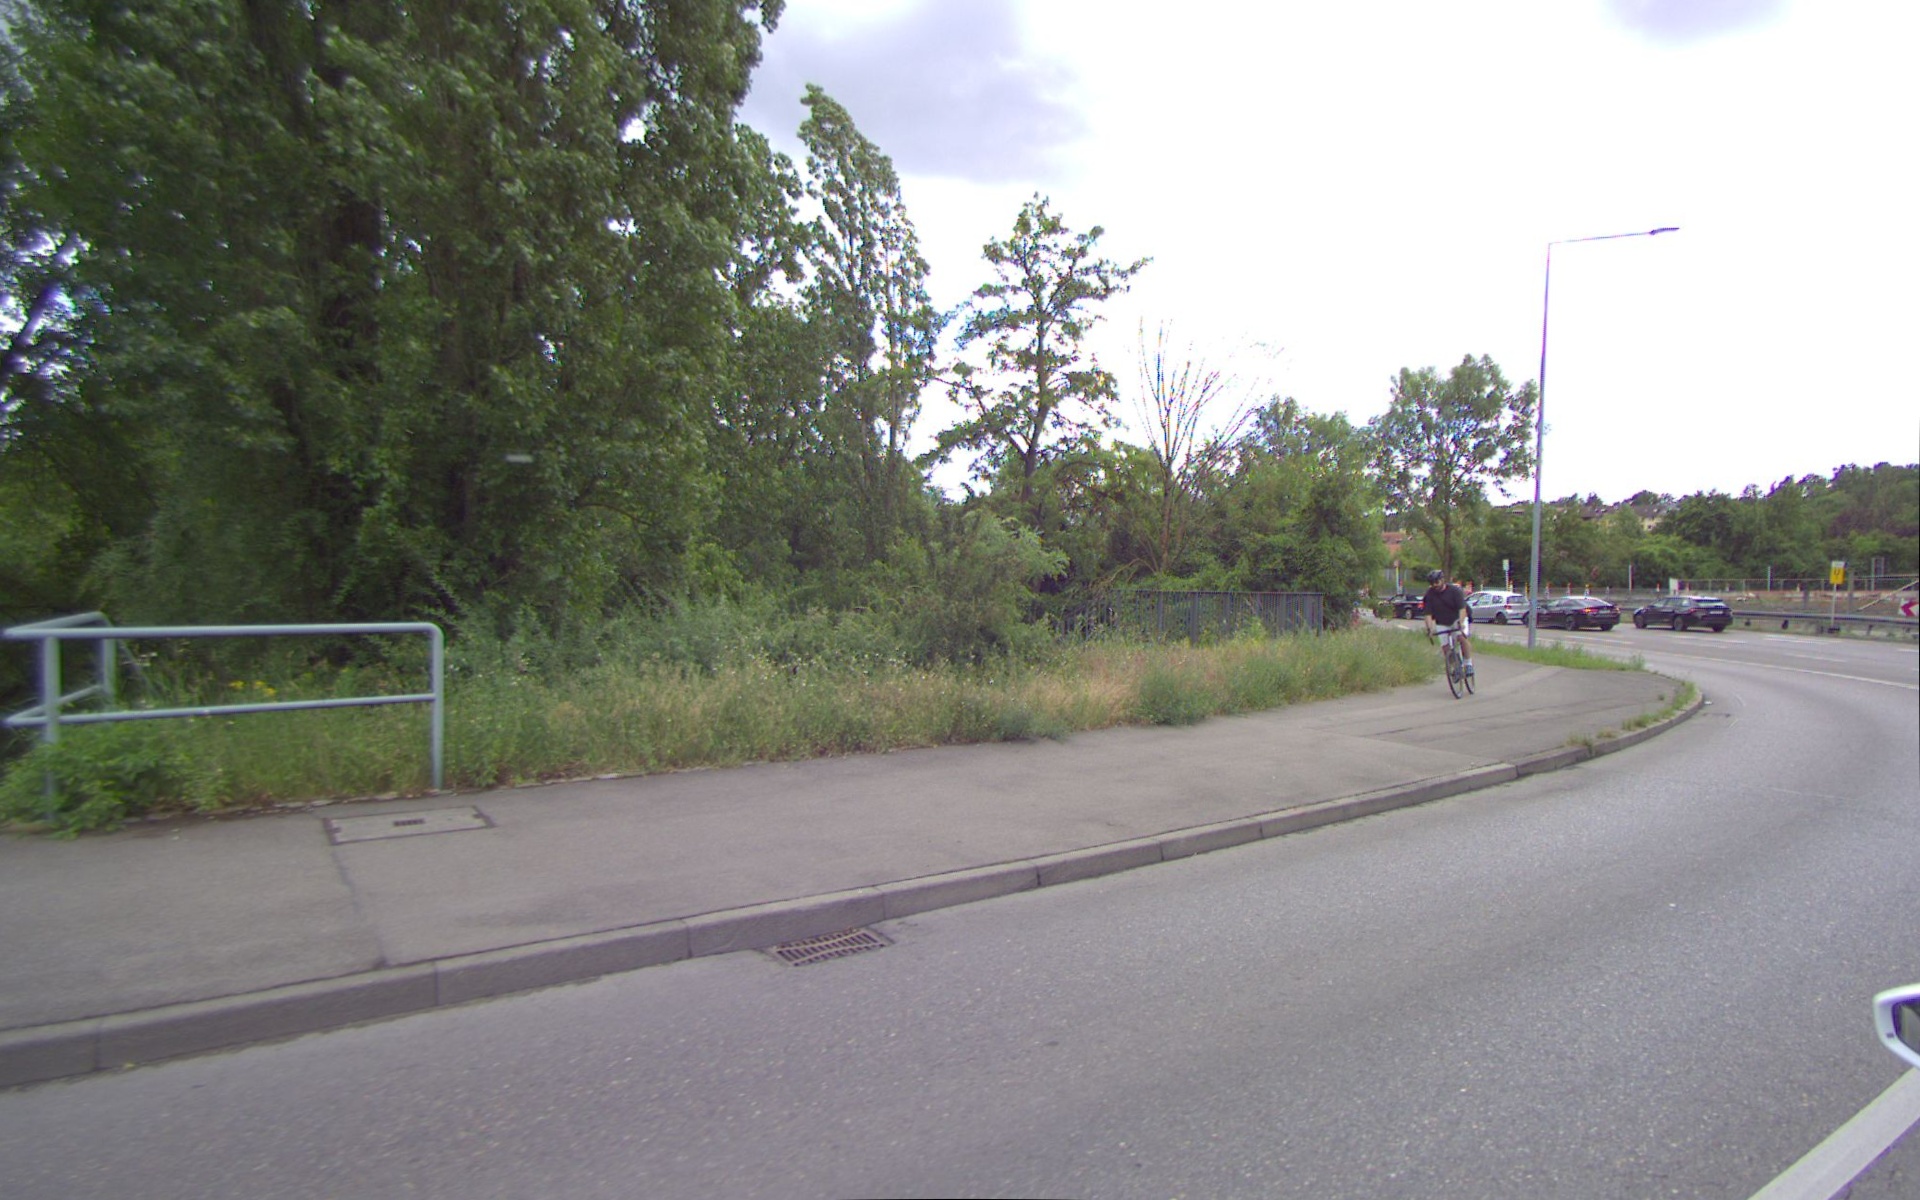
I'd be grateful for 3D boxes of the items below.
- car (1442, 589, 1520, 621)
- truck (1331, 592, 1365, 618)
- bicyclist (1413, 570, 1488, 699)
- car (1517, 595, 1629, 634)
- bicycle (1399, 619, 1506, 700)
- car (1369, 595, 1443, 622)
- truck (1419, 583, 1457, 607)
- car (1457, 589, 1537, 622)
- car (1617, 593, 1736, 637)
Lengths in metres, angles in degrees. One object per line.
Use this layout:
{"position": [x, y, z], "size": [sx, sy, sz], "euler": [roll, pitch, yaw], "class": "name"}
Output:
{"position": [29.451, 0.270, 56.905], "size": [1.688, 1.697, 3.989], "euler": [1, 0, -14], "class": "car"}
{"position": [31.907, 0.428, 82.521], "size": [1.712, 2.041, 3.215], "euler": [4, 2, 36], "class": "truck"}
{"position": [7.286, 0.491, 14.916], "size": [0.894, 1.833, 0.621], "euler": [1, 3, -42], "class": "bicyclist"}
{"position": [27.710, 0.610, 45.616], "size": [1.843, 1.496, 4.960], "euler": [-2, 2, -3], "class": "car"}
{"position": [7.399, 0.862, 15.048], "size": [1.867, 1.086, 0.729], "euler": [0, 3, -41], "class": "bicycle"}
{"position": [25.131, 0.442, 56.691], "size": [1.543, 1.386, 4.069], "euler": [-3, 2, -16], "class": "car"}
{"position": [42.699, -0.433, 89.641], "size": [1.970, 2.040, 3.980], "euler": [4, 2, 41], "class": "truck"}
{"position": [27.155, 0.232, 50.949], "size": [1.644, 1.489, 3.620], "euler": [-3, 2, -11], "class": "car"}
{"position": [30.568, 0.598, 43.015], "size": [1.844, 1.659, 4.199], "euler": [-2, 2, -6], "class": "car"}
